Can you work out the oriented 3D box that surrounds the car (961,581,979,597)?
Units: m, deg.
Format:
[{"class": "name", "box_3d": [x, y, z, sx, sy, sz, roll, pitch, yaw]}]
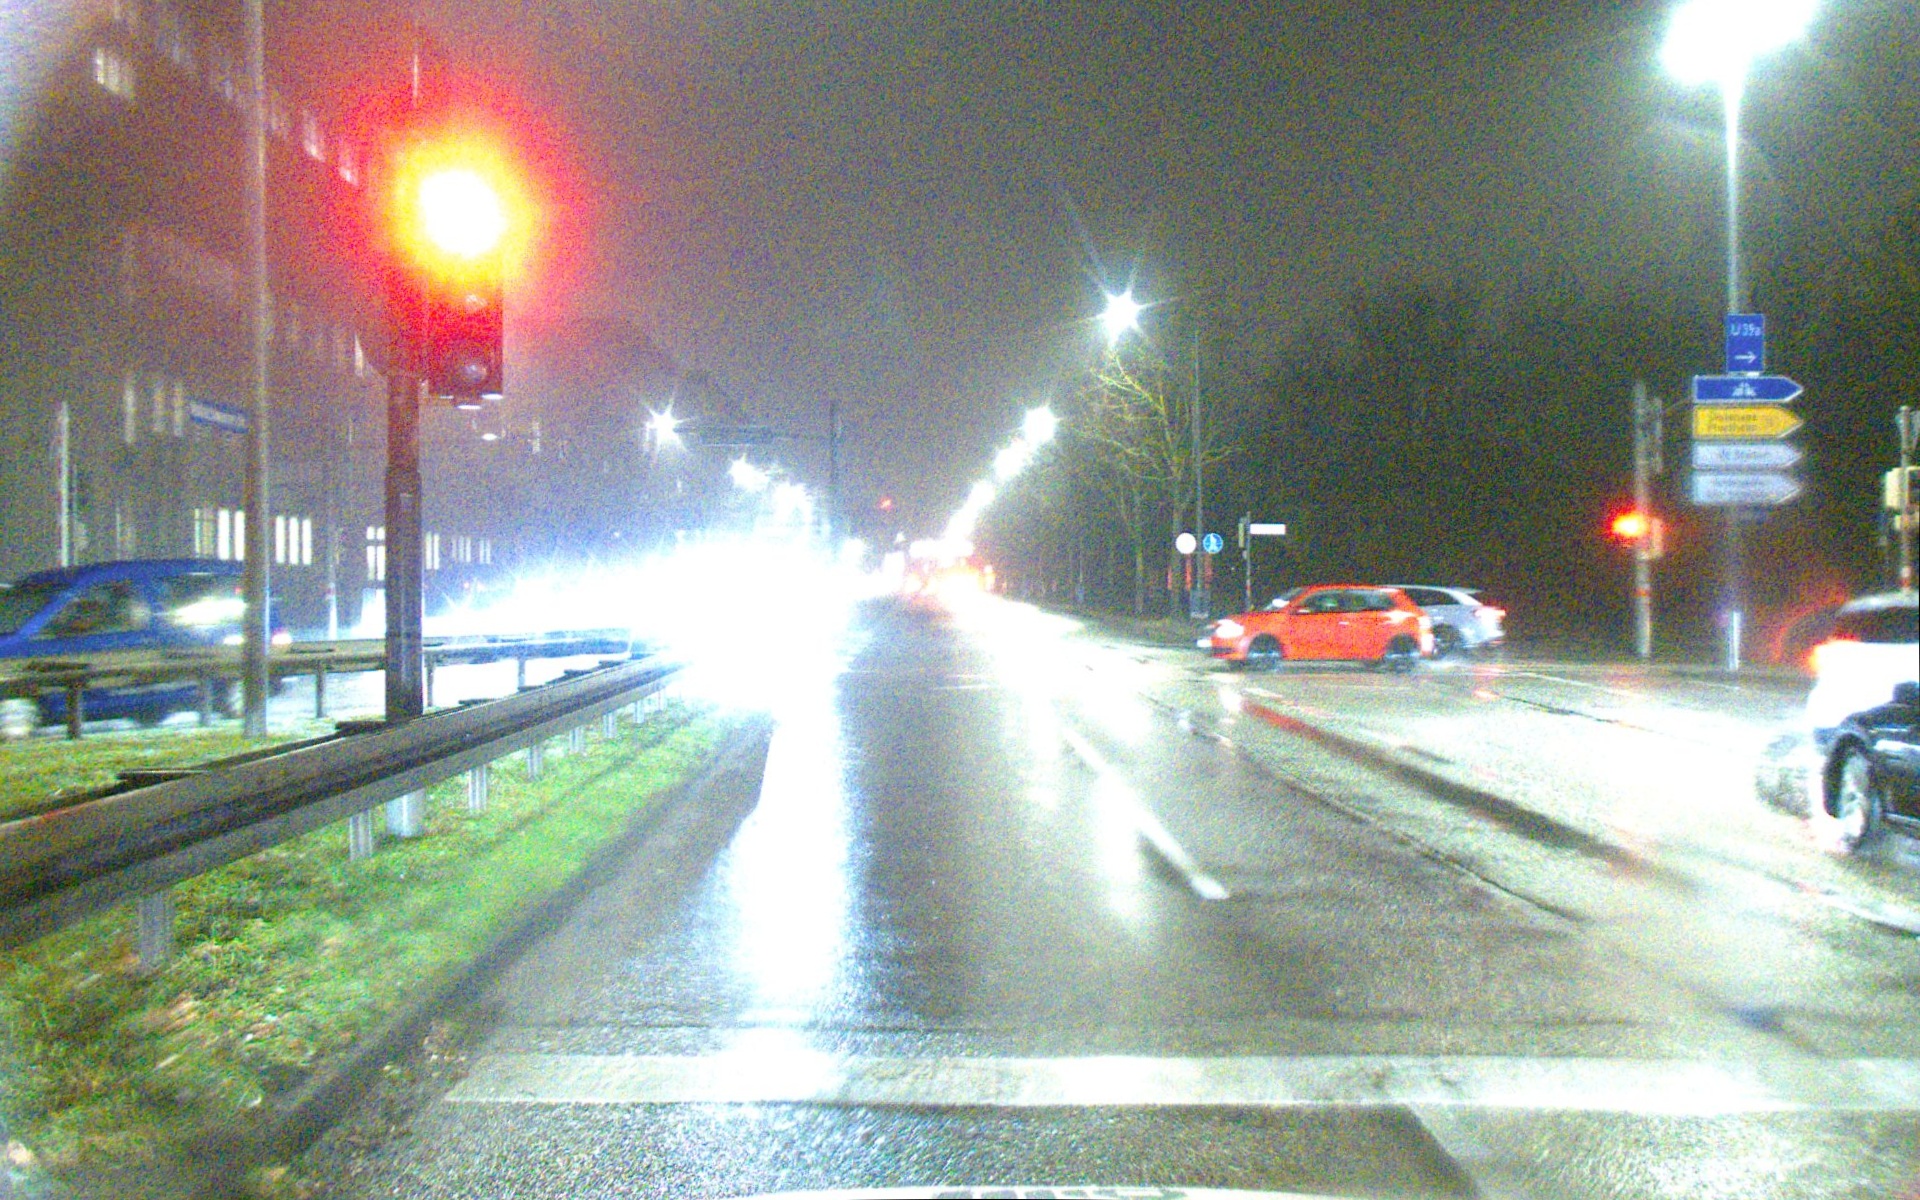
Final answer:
[{"class": "car", "box_3d": [1.191, -1.283, 197.162, 1.953, 1.790, 3.999, 1, 0, -1]}]

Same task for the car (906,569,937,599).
[{"class": "car", "box_3d": [-2.714, -1.089, 116.788, 1.954, 2.049, 4.628, 1, 0, -4]}]

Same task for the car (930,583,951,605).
[{"class": "car", "box_3d": [-1.785, -0.527, 147.624, 1.755, 1.907, 4.625, 1, 0, -2]}]

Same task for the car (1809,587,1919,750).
[{"class": "car", "box_3d": [9.647, 0.656, 16.751, 1.604, 1.484, 3.585, 1, 0, 31]}]

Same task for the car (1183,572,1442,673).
[{"class": "car", "box_3d": [6.041, 0.377, 28.588, 3.989, 1.616, 1.910, 1, 0, -5]}]

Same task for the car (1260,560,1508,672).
[{"class": "car", "box_3d": [8.851, 0.300, 34.469, 4.810, 2.182, 2.142, 1, 0, 20]}]

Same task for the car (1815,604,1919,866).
[{"class": "car", "box_3d": [6.056, 0.775, 7.958, 1.715, 1.414, 4.568, 1, 1, 3]}]

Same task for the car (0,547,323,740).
[{"class": "car", "box_3d": [-8.996, 0.408, 17.049, 1.817, 1.780, 4.502, 1, 0, 26]}]
